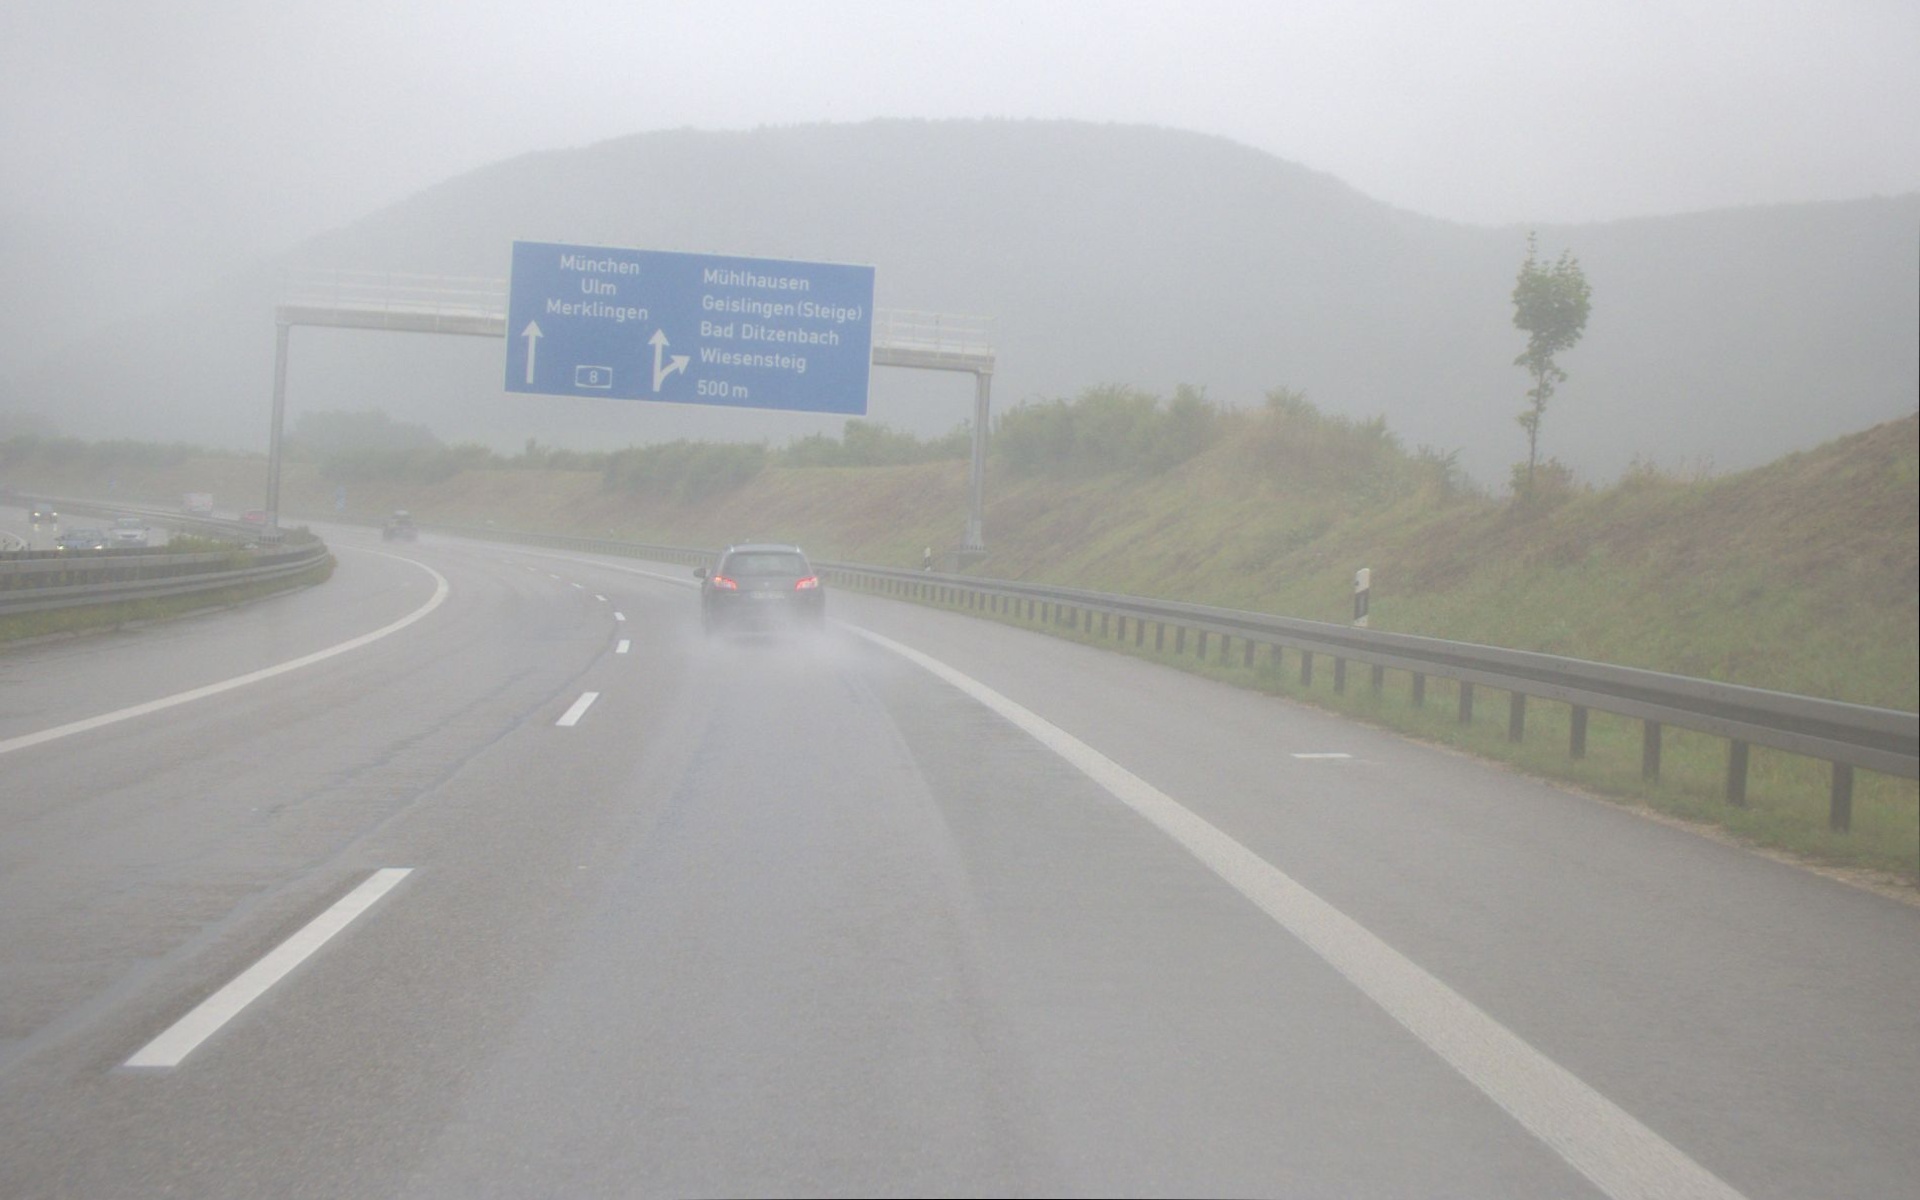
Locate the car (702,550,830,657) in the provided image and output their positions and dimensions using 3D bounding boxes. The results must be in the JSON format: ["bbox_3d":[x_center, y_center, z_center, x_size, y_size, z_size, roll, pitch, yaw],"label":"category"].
[{"bbox_3d":[-2.948,0.024,51.599,1.679,1.467,3.815,2,1,-6],"label":"car"}]
